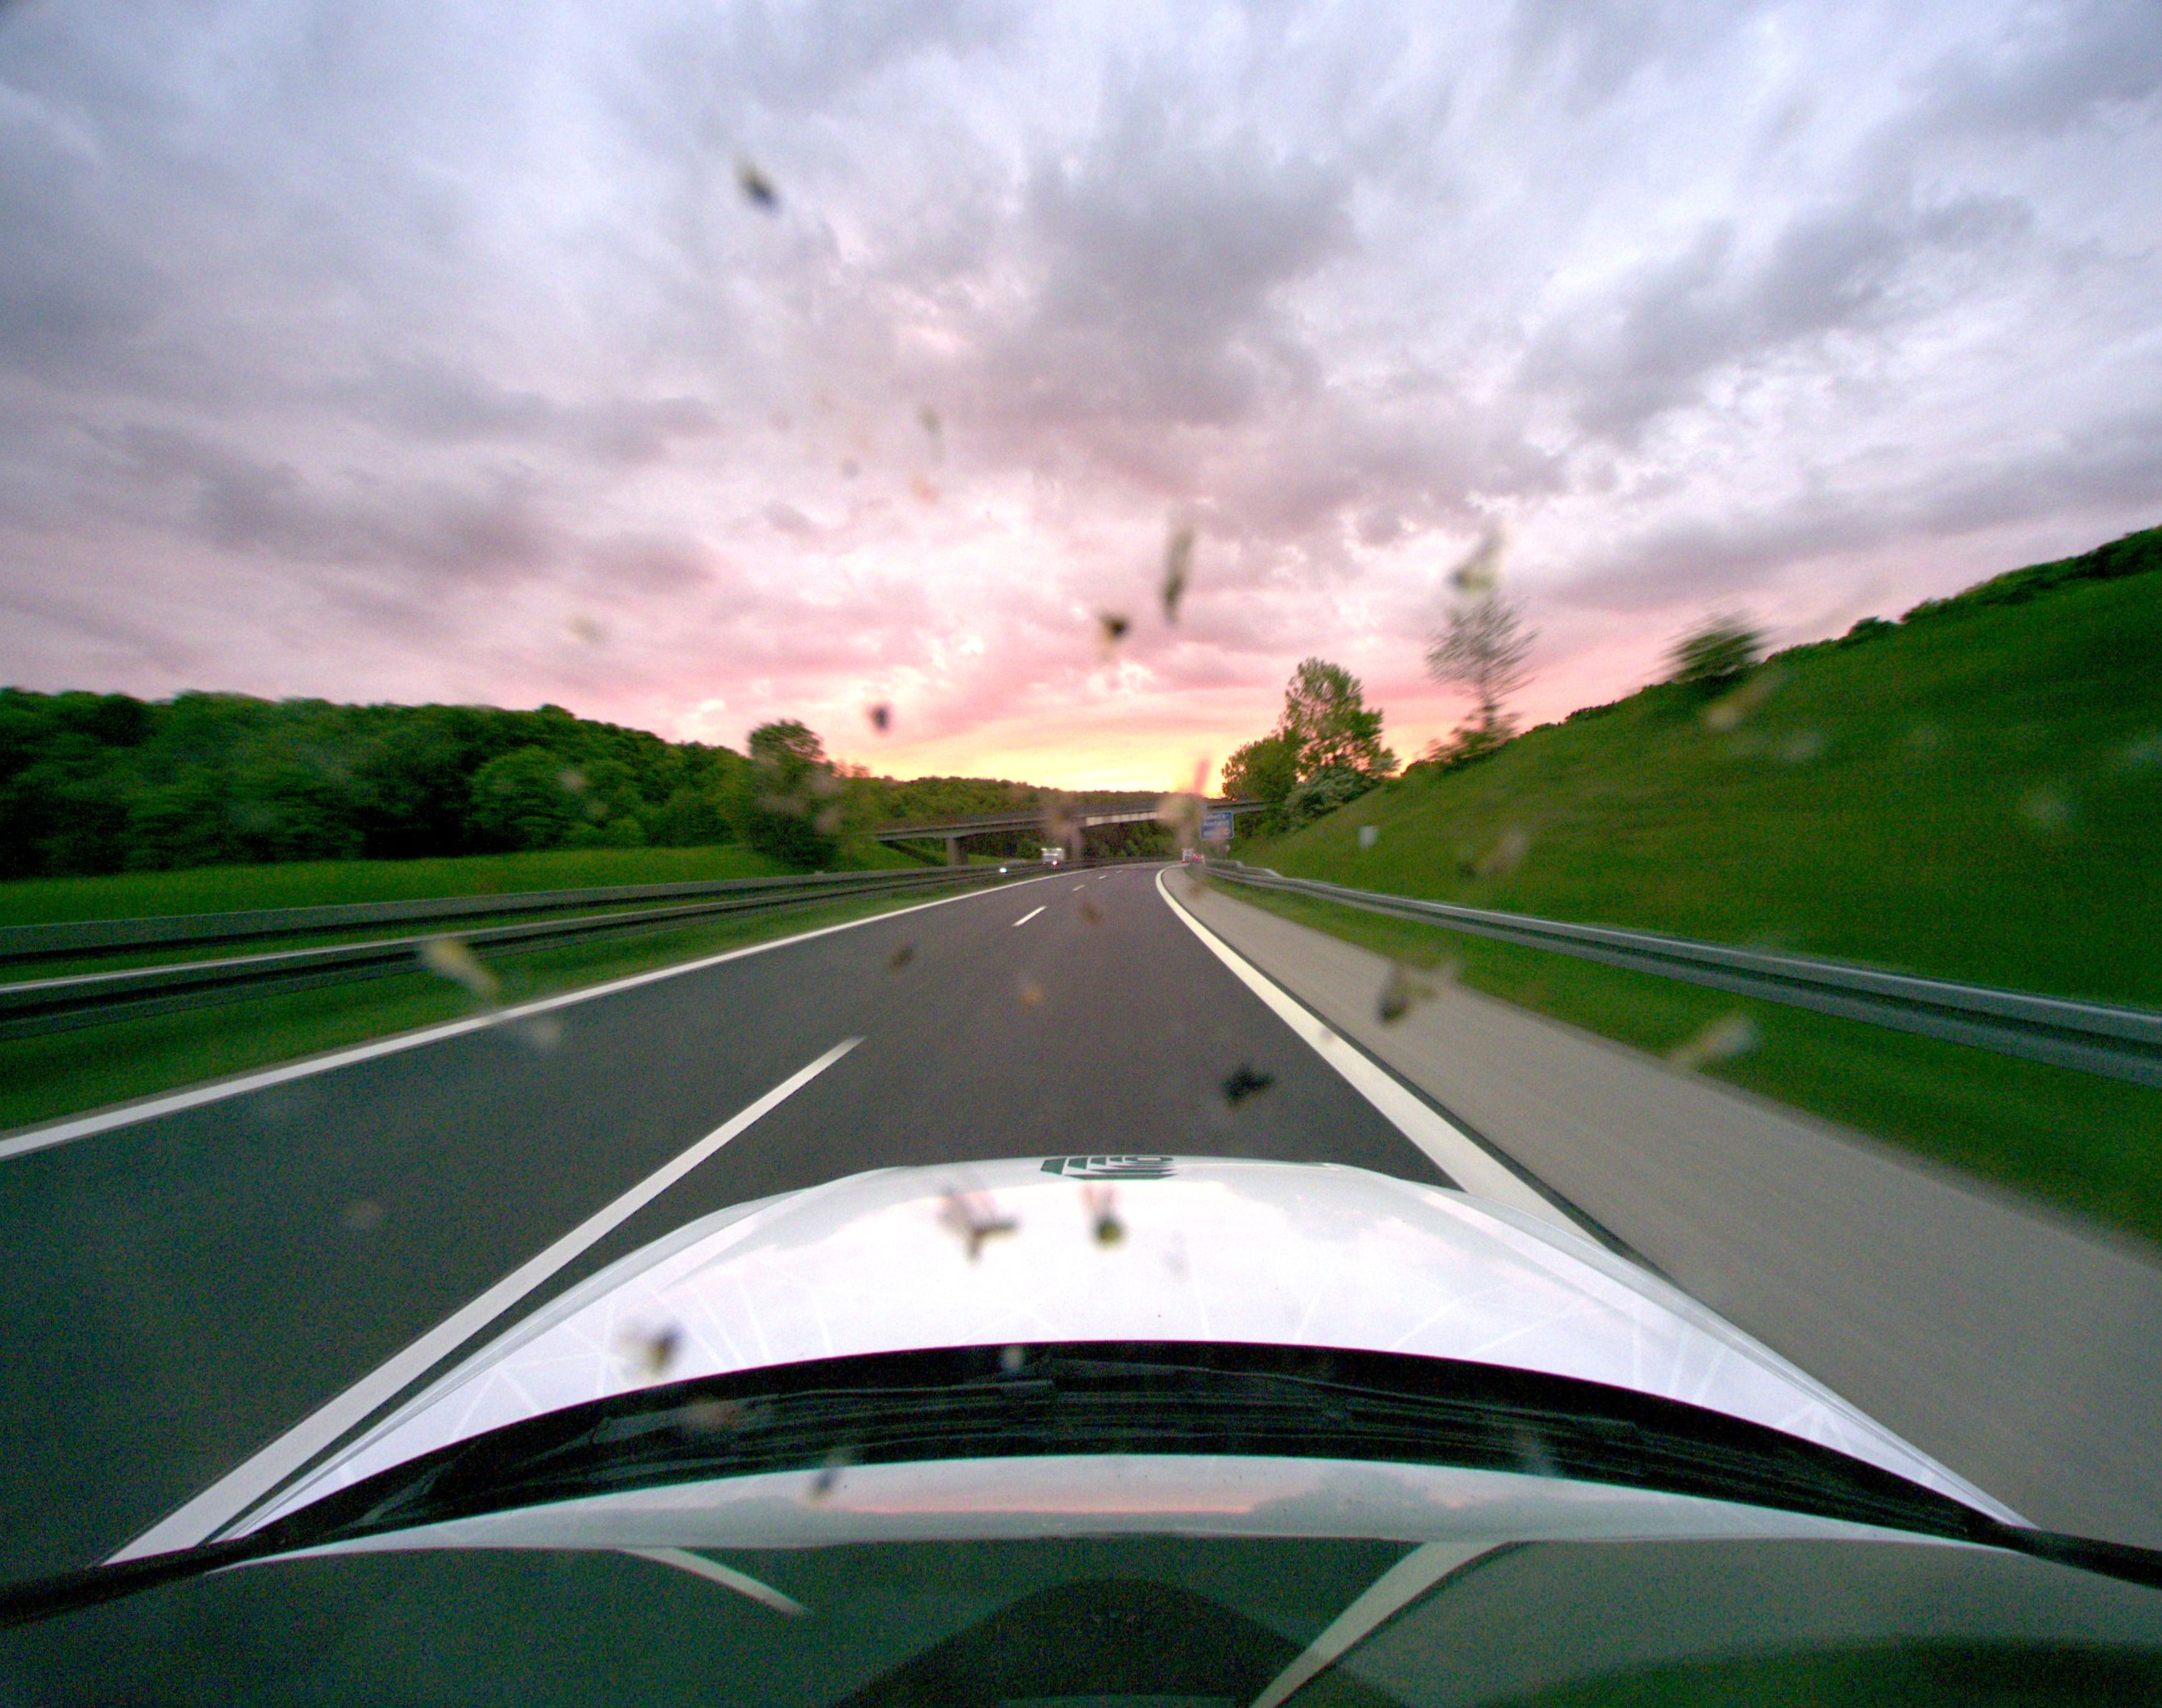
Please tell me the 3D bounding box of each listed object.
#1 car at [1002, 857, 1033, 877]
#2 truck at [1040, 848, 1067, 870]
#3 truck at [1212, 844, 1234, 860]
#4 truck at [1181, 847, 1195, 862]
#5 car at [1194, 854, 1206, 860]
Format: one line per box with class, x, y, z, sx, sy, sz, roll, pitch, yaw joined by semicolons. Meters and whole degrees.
car;-5.955;1.193;76.878;1.765;1.714;4.649;-1;0;9
truck;-3.901;0.691;117.203;2.596;3.109;6.686;-1;0;10
truck;38.926;-0.588;222.872;3.927;4.287;14.387;-2;0;17
truck;21.059;0.118;159.881;2.261;2.665;5.253;-3;1;11
car;30.897;0.864;211.572;1.976;1.517;4.021;-2;0;21
